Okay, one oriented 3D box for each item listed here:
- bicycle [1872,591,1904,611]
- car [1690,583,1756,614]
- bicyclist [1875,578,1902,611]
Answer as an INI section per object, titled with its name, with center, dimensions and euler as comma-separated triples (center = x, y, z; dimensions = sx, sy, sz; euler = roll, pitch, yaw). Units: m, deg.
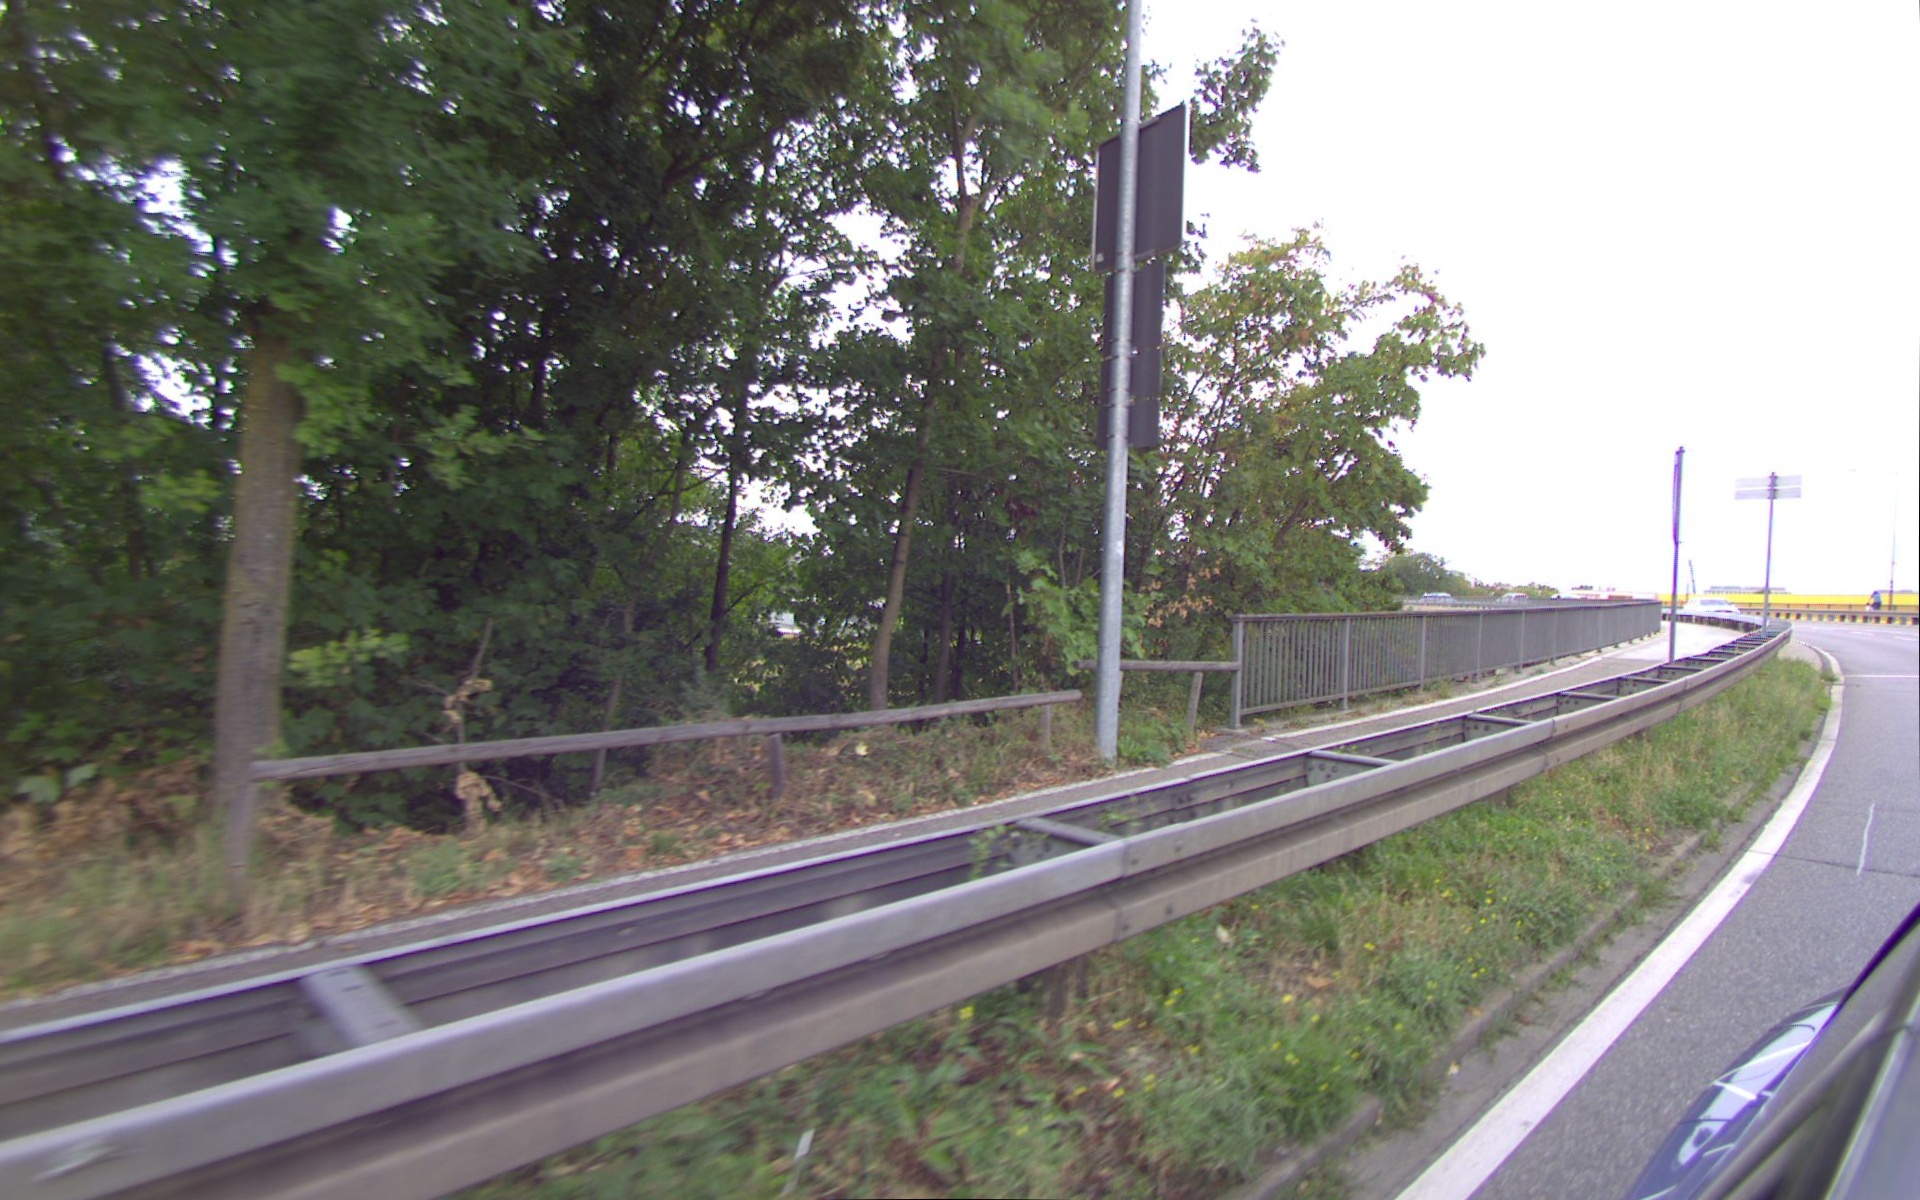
[bicycle]
center = 51.935, 0.027, 56.672
dimensions = 0.639, 1.080, 1.751
euler = 2, 1, 19
[car]
center = 42.378, -0.133, 56.311
dimensions = 1.917, 1.474, 3.858
euler = 4, 3, 22
[bicyclist]
center = 51.919, -0.337, 56.590
dimensions = 0.840, 1.831, 0.792
euler = 1, 1, 19
